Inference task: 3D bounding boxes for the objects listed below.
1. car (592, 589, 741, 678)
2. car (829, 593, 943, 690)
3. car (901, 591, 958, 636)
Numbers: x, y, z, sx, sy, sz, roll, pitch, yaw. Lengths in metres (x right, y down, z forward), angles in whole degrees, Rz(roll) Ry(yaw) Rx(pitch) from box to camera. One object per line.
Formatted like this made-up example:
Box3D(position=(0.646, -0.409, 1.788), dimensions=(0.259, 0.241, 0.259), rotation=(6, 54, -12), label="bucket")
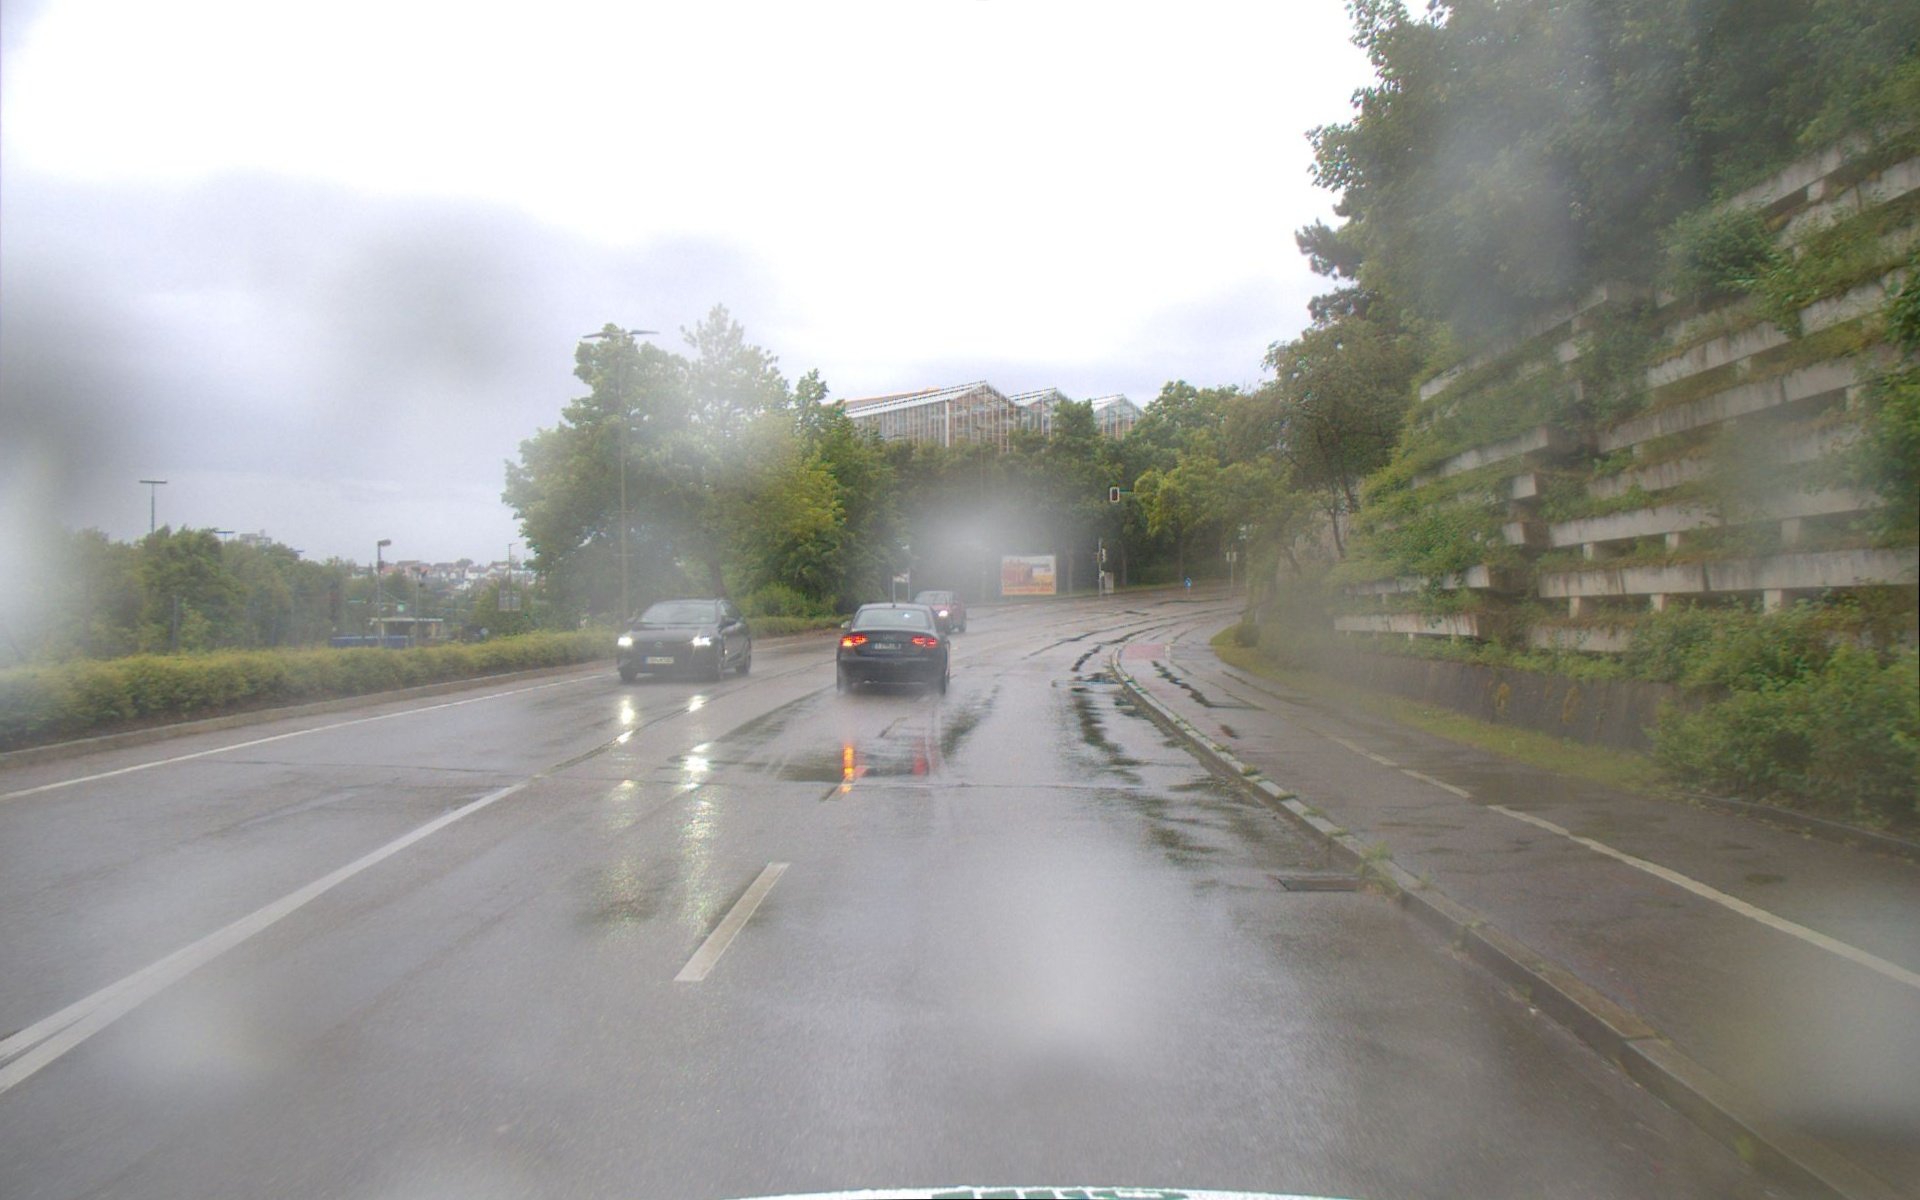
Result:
Box3D(position=(-5.365, 0.583, 30.792), dimensions=(1.687, 1.488, 4.545), rotation=(2, 0, 3), label="car")
Box3D(position=(-1.181, 0.618, 26.923), dimensions=(1.719, 1.420, 3.999), rotation=(0, 1, -2), label="car")
Box3D(position=(-1.098, 0.472, 61.336), dimensions=(1.717, 1.562, 4.003), rotation=(0, 1, 5), label="car")
